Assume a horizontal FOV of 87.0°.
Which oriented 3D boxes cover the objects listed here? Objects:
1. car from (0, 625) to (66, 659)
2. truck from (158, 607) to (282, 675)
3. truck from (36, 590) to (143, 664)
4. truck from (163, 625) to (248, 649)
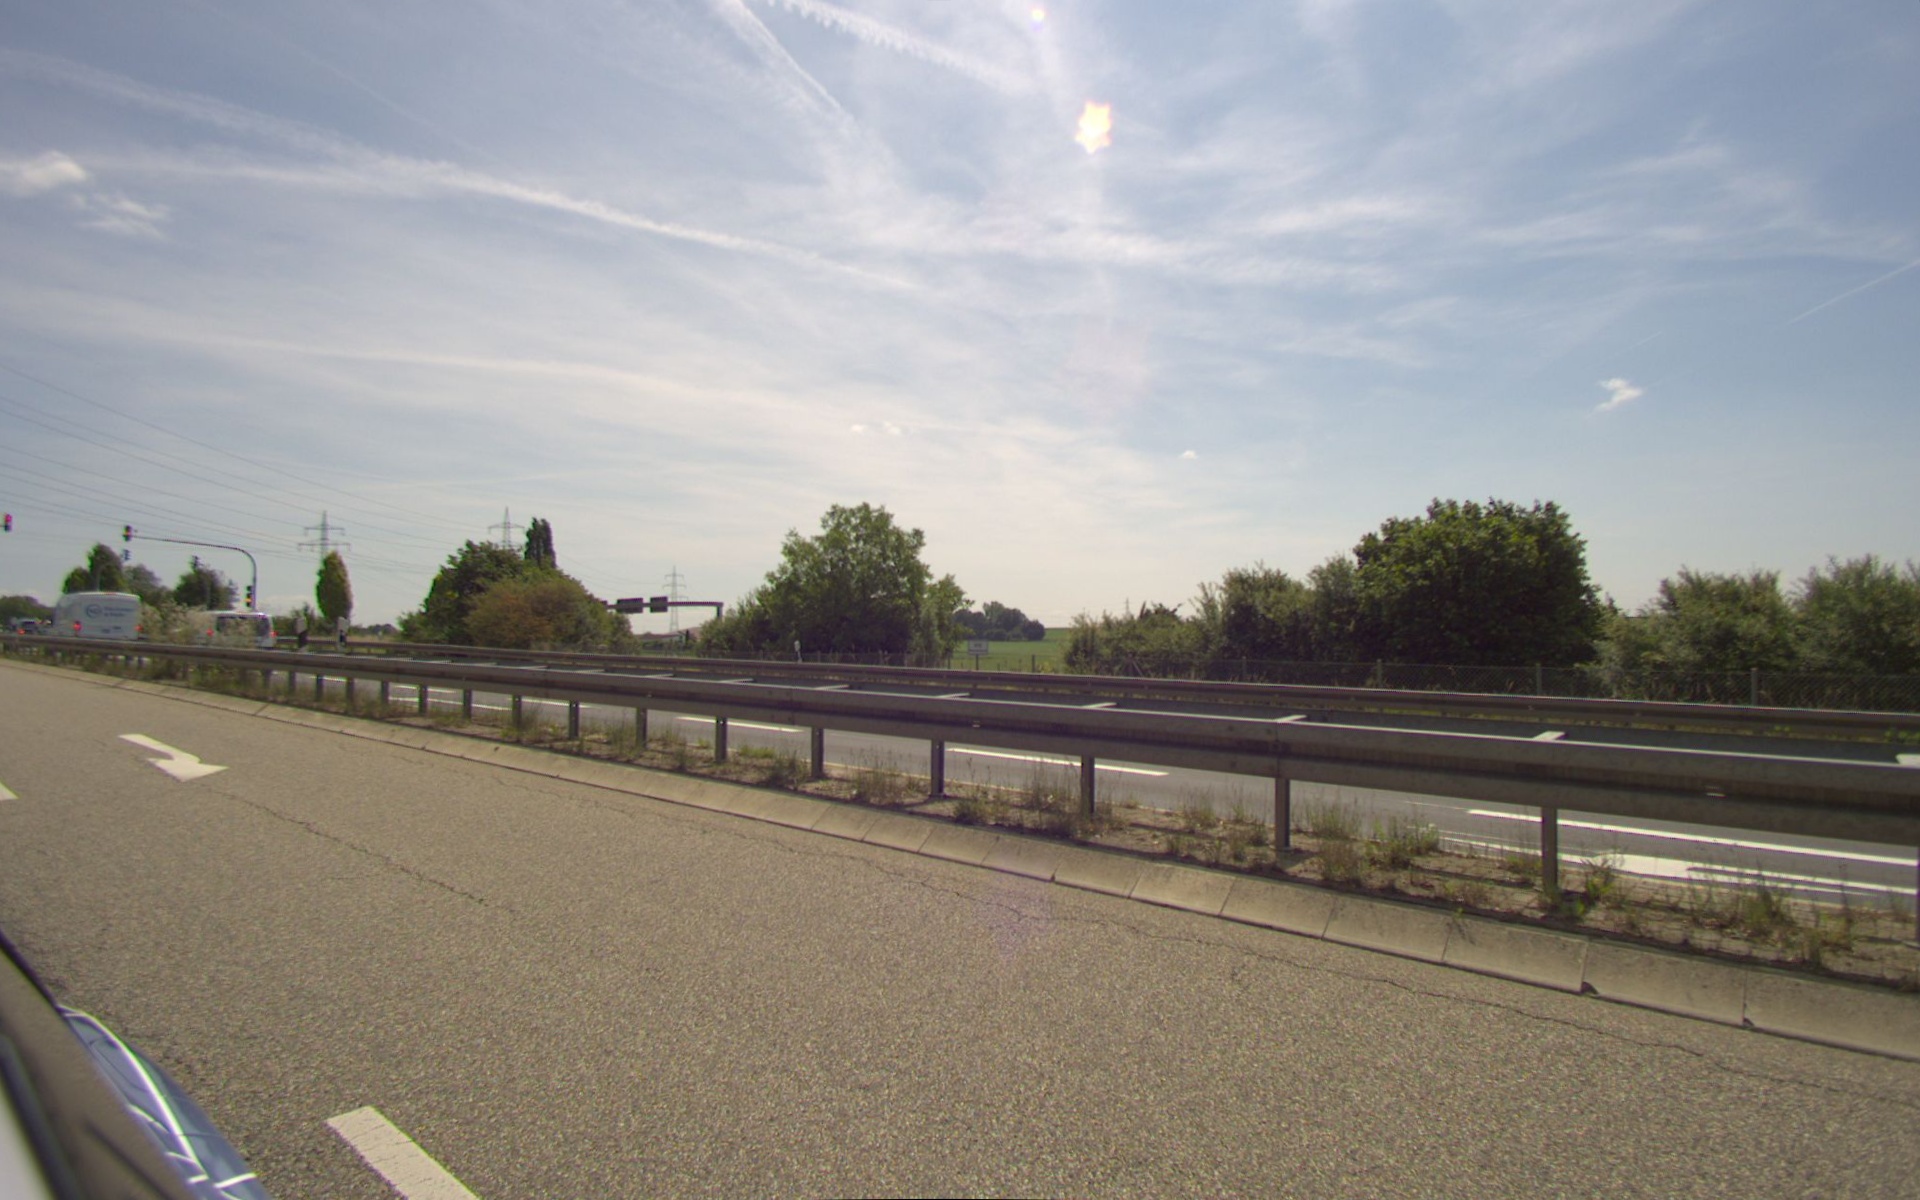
[{"bbox_3d":[-43.444,1.941,47.267,4.190,1.480,1.738,-1,-3,38],"label":"car"},{"bbox_3d":[-21.172,1.146,28.876,4.535,1.762,1.830,0,-4,41],"label":"truck"},{"bbox_3d":[-33.652,1.077,39.075,6.014,2.641,2.020,-1,-4,40],"label":"truck"},{"bbox_3d":[-61.848,3.074,83.078,1.991,1.770,5.230,0,-3,29],"label":"truck"}]
